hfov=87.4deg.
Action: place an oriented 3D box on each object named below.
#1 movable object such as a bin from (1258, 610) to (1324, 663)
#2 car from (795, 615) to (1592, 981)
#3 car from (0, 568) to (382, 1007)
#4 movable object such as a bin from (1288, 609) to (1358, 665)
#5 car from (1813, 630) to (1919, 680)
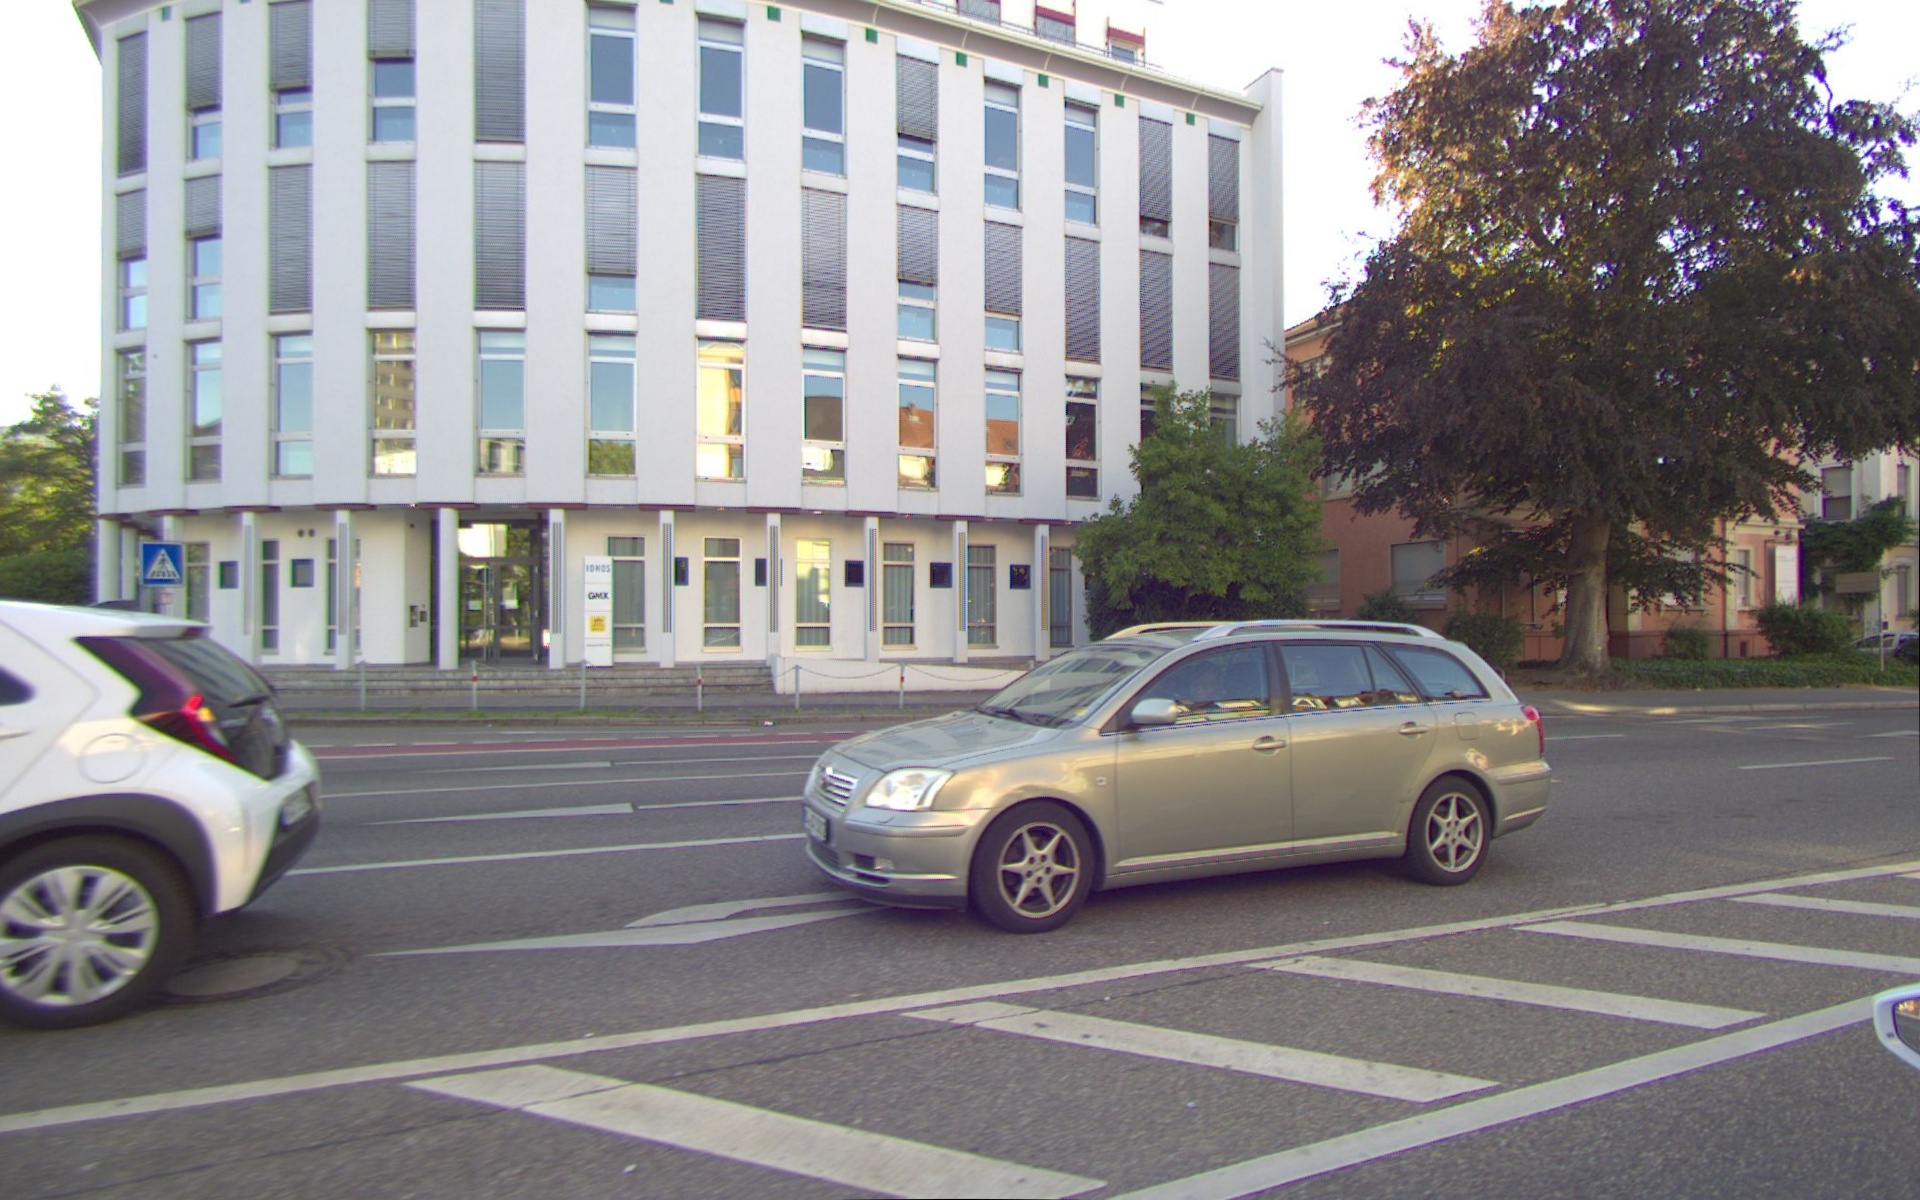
[{"bbox_3d":[10.838,1.176,32.962,1.435,1.673,1.501,0,-1,-21],"label":"movable object such as a bin"},{"bbox_3d":[1.455,0.872,6.060,4.541,1.534,1.823,0,-1,-25],"label":"car"},{"bbox_3d":[-4.510,0.647,3.804,3.848,1.480,1.823,0,-1,-25],"label":"car"},{"bbox_3d":[11.354,1.144,31.471,1.435,1.673,1.501,0,-1,-21],"label":"movable object such as a bin"},{"bbox_3d":[29.581,1.720,31.841,1.792,1.506,3.484,0,-1,-27],"label":"car"}]
